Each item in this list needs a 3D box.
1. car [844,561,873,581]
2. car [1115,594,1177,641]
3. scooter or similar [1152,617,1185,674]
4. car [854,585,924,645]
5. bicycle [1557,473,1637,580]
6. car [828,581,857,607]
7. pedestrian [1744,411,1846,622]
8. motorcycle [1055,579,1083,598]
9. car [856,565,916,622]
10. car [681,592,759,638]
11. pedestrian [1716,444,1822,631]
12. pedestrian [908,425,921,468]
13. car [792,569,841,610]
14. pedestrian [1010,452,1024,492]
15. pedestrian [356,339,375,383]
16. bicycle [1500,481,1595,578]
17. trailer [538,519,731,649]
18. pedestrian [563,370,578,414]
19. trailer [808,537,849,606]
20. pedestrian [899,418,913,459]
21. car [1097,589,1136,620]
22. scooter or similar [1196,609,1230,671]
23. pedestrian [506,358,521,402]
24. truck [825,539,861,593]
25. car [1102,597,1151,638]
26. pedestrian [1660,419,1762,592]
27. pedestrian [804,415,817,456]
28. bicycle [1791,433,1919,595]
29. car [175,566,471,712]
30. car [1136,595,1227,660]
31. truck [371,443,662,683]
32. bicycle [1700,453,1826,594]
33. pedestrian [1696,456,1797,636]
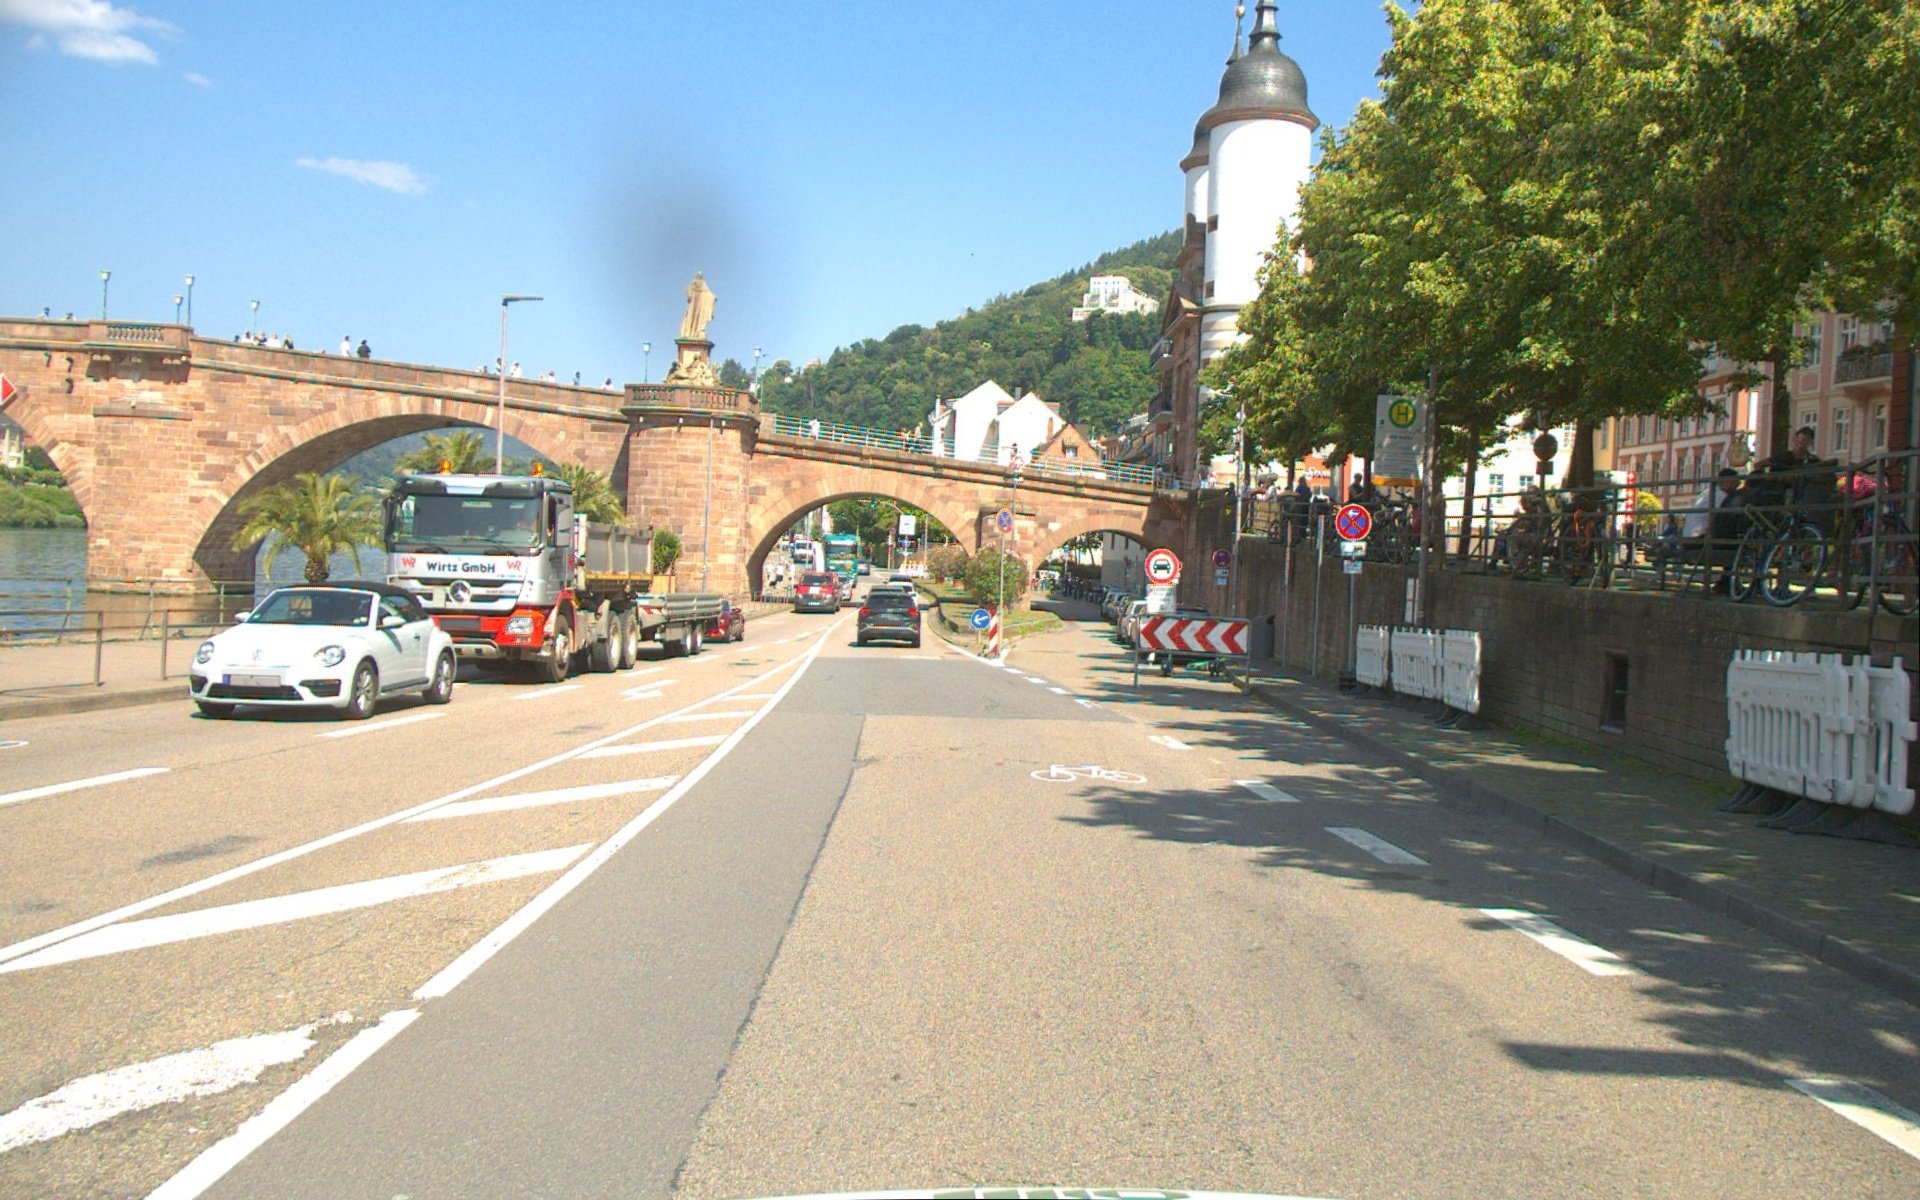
[{"bbox_3d":[-8.850,-2.534,143.980,1.824,1.691,3.986,1,1,-14],"label":"car"},{"bbox_3d":[6.309,0.569,56.401,1.676,1.483,3.547,2,0,0],"label":"car"},{"bbox_3d":[4.214,0.903,33.390,0.520,1.108,1.440,2,0,11],"label":"scooter or similar"},{"bbox_3d":[-1.952,0.382,46.741,1.819,1.550,3.999,2,1,-1],"label":"car"},{"bbox_3d":[7.058,-0.789,18.382,0.401,1.125,1.736,1,0,7],"label":"bicycle"},{"bbox_3d":[-6.866,-0.377,96.894,1.503,1.462,3.728,1,1,-1],"label":"car"},{"bbox_3d":[9.049,-0.891,17.946,0.703,2.227,0.711,2,0,2],"label":"pedestrian"},{"bbox_3d":[7.940,-0.830,120.083,2.177,1.289,0.619,1,2,-40],"label":"motorcycle"},{"bbox_3d":[-2.788,-0.270,63.307,1.952,2.049,4.001,2,1,1],"label":"car"},{"bbox_3d":[-6.651,0.395,46.139,1.637,1.215,3.628,1,0,-1],"label":"car"},{"bbox_3d":[7.810,-0.595,15.988,0.703,1.751,0.573,2,0,2],"label":"pedestrian"},{"bbox_3d":[-2.247,-7.577,81.680,0.611,2.049,0.695,2,0,0],"label":"pedestrian"},{"bbox_3d":[-6.661,-0.519,77.152,1.836,1.859,4.544,1,1,0],"label":"car"},{"bbox_3d":[2.973,-6.711,86.729,0.670,2.049,0.586,2,0,-1],"label":"pedestrian"},{"bbox_3d":[-28.996,-11.641,80.689,0.679,2.049,0.625,2,0,-5],"label":"pedestrian"},{"bbox_3d":[7.202,-0.840,20.356,0.402,1.125,1.733,1,0,-5],"label":"bicycle"},{"bbox_3d":[-7.008,-0.321,36.642,2.641,2.575,6.949,1,0,2],"label":"trailer"},{"bbox_3d":[-19.147,-10.223,81.299,0.612,2.049,0.694,2,0,-8],"label":"pedestrian"},{"bbox_3d":[-6.558,-1.416,82.655,1.706,3.378,3.384,1,1,0],"label":"trailer"},{"bbox_3d":[-2.759,-8.258,84.646,0.670,2.049,0.586,2,0,-1],"label":"pedestrian"},{"bbox_3d":[8.616,0.228,91.312,1.854,1.518,4.418,2,1,2],"label":"car"},{"bbox_3d":[5.231,0.816,34.193,0.520,1.252,1.272,2,0,16],"label":"scooter or similar"},{"bbox_3d":[-22.011,-10.833,81.554,0.612,2.049,0.694,2,0,-8],"label":"pedestrian"},{"bbox_3d":[-8.546,-2.546,121.438,2.473,3.813,6.244,1,2,-3],"label":"truck"},{"bbox_3d":[6.115,0.601,60.483,1.674,1.412,4.411,1,0,7],"label":"car"},{"bbox_3d":[7.809,-0.966,17.231,0.703,1.751,0.711,2,0,2],"label":"pedestrian"},{"bbox_3d":[-7.653,-8.405,84.610,0.569,2.049,0.586,2,0,-1],"label":"pedestrian"},{"bbox_3d":[6.889,-0.608,12.539,0.401,1.125,1.925,2,1,7],"label":"bicycle"},{"bbox_3d":[-7.256,0.406,19.304,1.741,1.469,3.998,2,0,2],"label":"car"},{"bbox_3d":[5.505,0.643,41.602,1.804,1.475,4.536,2,0,2],"label":"car"},{"bbox_3d":[-7.264,-0.551,28.387,2.587,3.517,7.873,1,0,2],"label":"truck"},{"bbox_3d":[6.873,-0.627,14.233,0.401,1.125,1.736,2,0,7],"label":"bicycle"},{"bbox_3d":[7.886,-0.538,16.612,0.703,1.751,0.573,2,0,2],"label":"pedestrian"}]
